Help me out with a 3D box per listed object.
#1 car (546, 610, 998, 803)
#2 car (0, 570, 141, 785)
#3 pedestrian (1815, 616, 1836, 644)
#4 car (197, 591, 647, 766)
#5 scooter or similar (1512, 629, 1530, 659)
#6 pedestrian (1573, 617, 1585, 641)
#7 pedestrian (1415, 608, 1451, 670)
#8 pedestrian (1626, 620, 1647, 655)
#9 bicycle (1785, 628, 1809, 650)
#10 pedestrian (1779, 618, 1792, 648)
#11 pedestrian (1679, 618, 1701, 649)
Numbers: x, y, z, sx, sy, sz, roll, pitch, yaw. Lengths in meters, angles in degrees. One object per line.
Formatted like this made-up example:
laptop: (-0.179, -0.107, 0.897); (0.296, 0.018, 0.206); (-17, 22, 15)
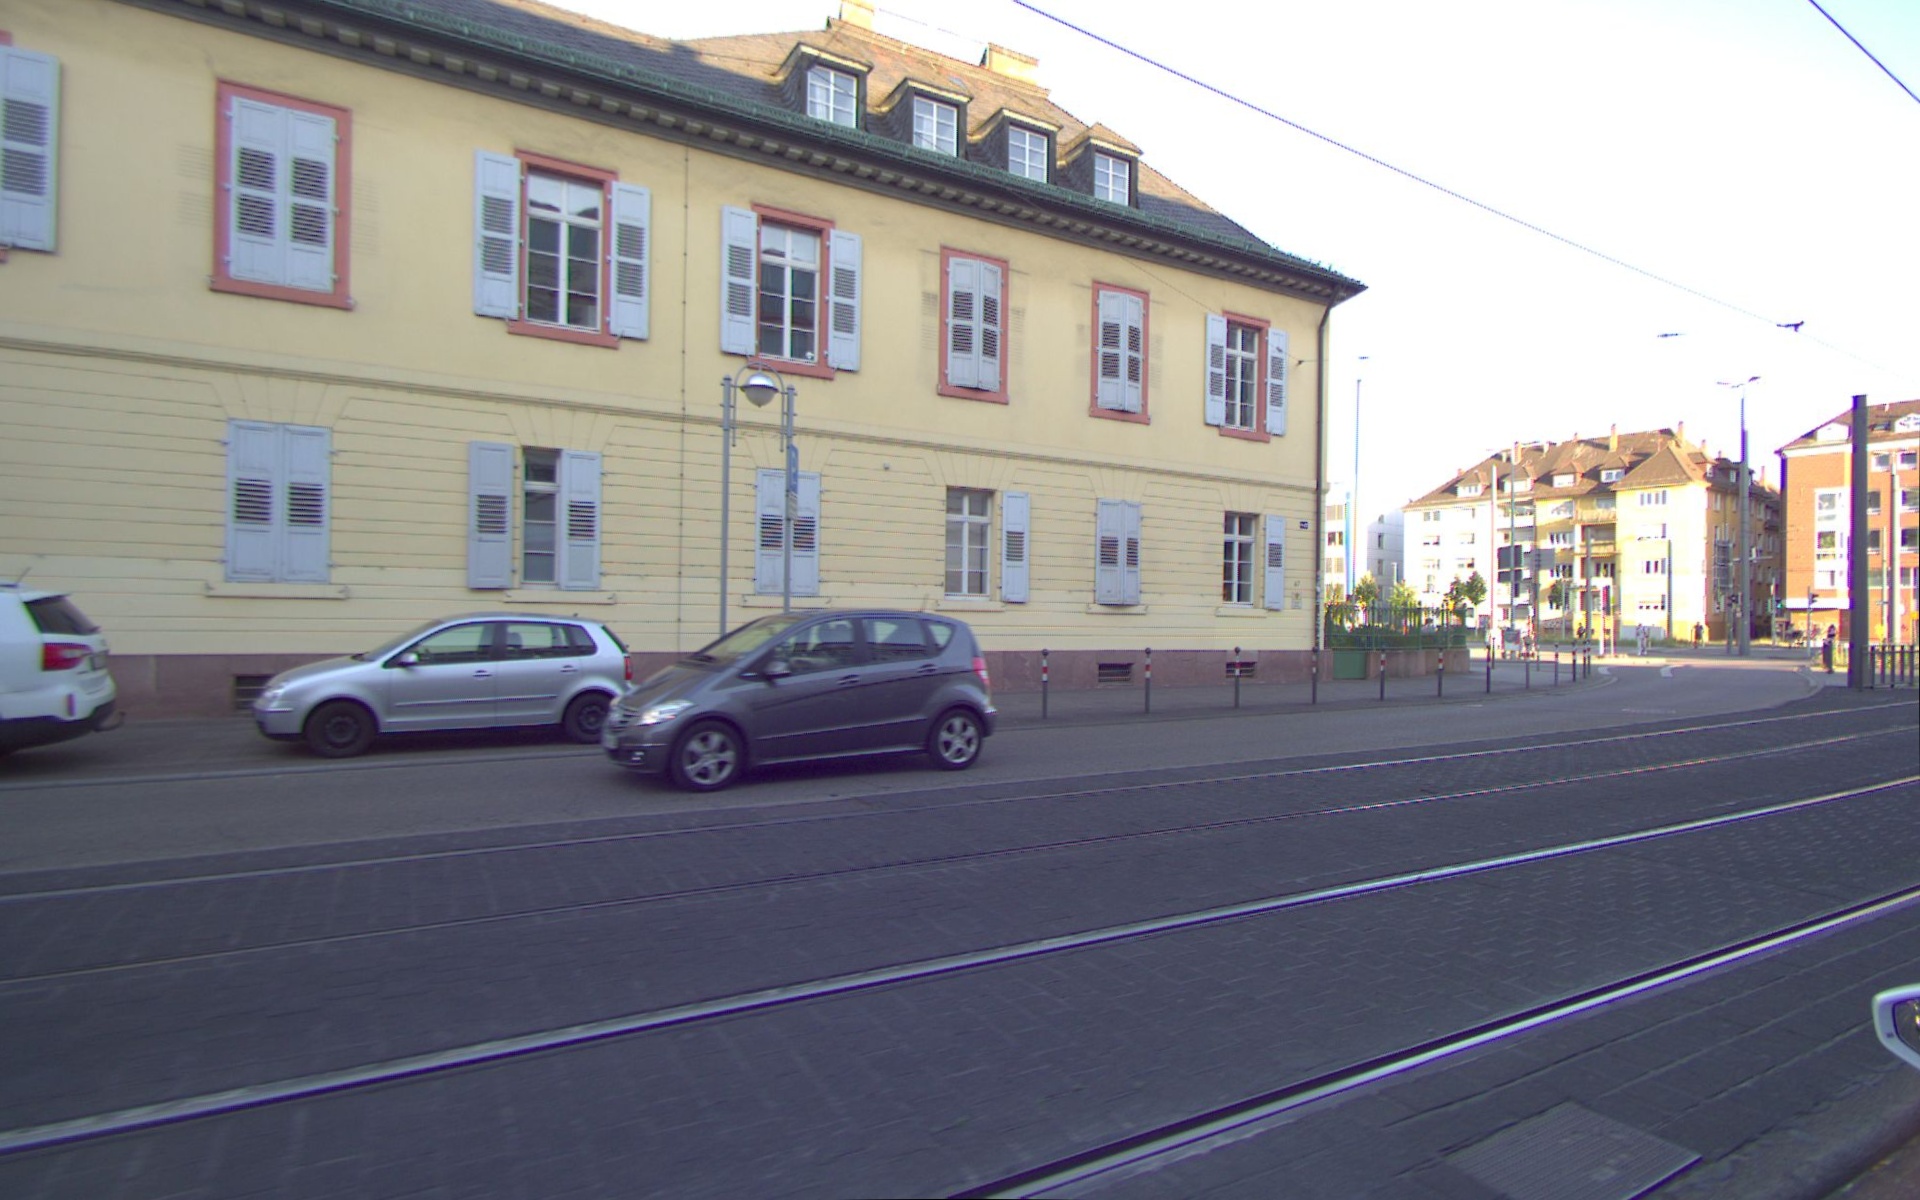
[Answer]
car: (-1.746, 0.895, 9.810); (3.993, 1.532, 1.725); (1, -1, -34)
car: (-10.014, 0.620, 8.579); (4.448, 1.809, 1.802); (1, 2, -32)
pedestrian: (60.717, 2.106, 70.467); (0.831, 1.893, 0.932); (1, 1, -39)
car: (-5.876, 0.755, 11.336); (4.167, 1.639, 1.803); (1, 0, -32)
scooter or similar: (24.886, 1.958, 44.568); (0.507, 1.289, 1.256); (0, -1, 21)
pedestrian: (48.954, 2.296, 79.398); (0.710, 1.892, 0.881); (0, -1, 40)
pedestrian: (14.875, 1.207, 31.603); (0.751, 1.918, 0.729); (1, -1, -6)
pedestrian: (37.268, 2.052, 55.354); (0.872, 1.892, 0.972); (0, -1, 39)
bicycle: (53.025, 2.455, 63.646); (1.995, 1.343, 0.614); (1, 1, -34)
pedestrian: (52.617, 2.093, 64.027); (0.557, 1.893, 0.499); (1, 1, -35)
pedestrian: (46.769, 2.114, 64.372); (1.084, 1.970, 1.020); (0, -1, 41)
